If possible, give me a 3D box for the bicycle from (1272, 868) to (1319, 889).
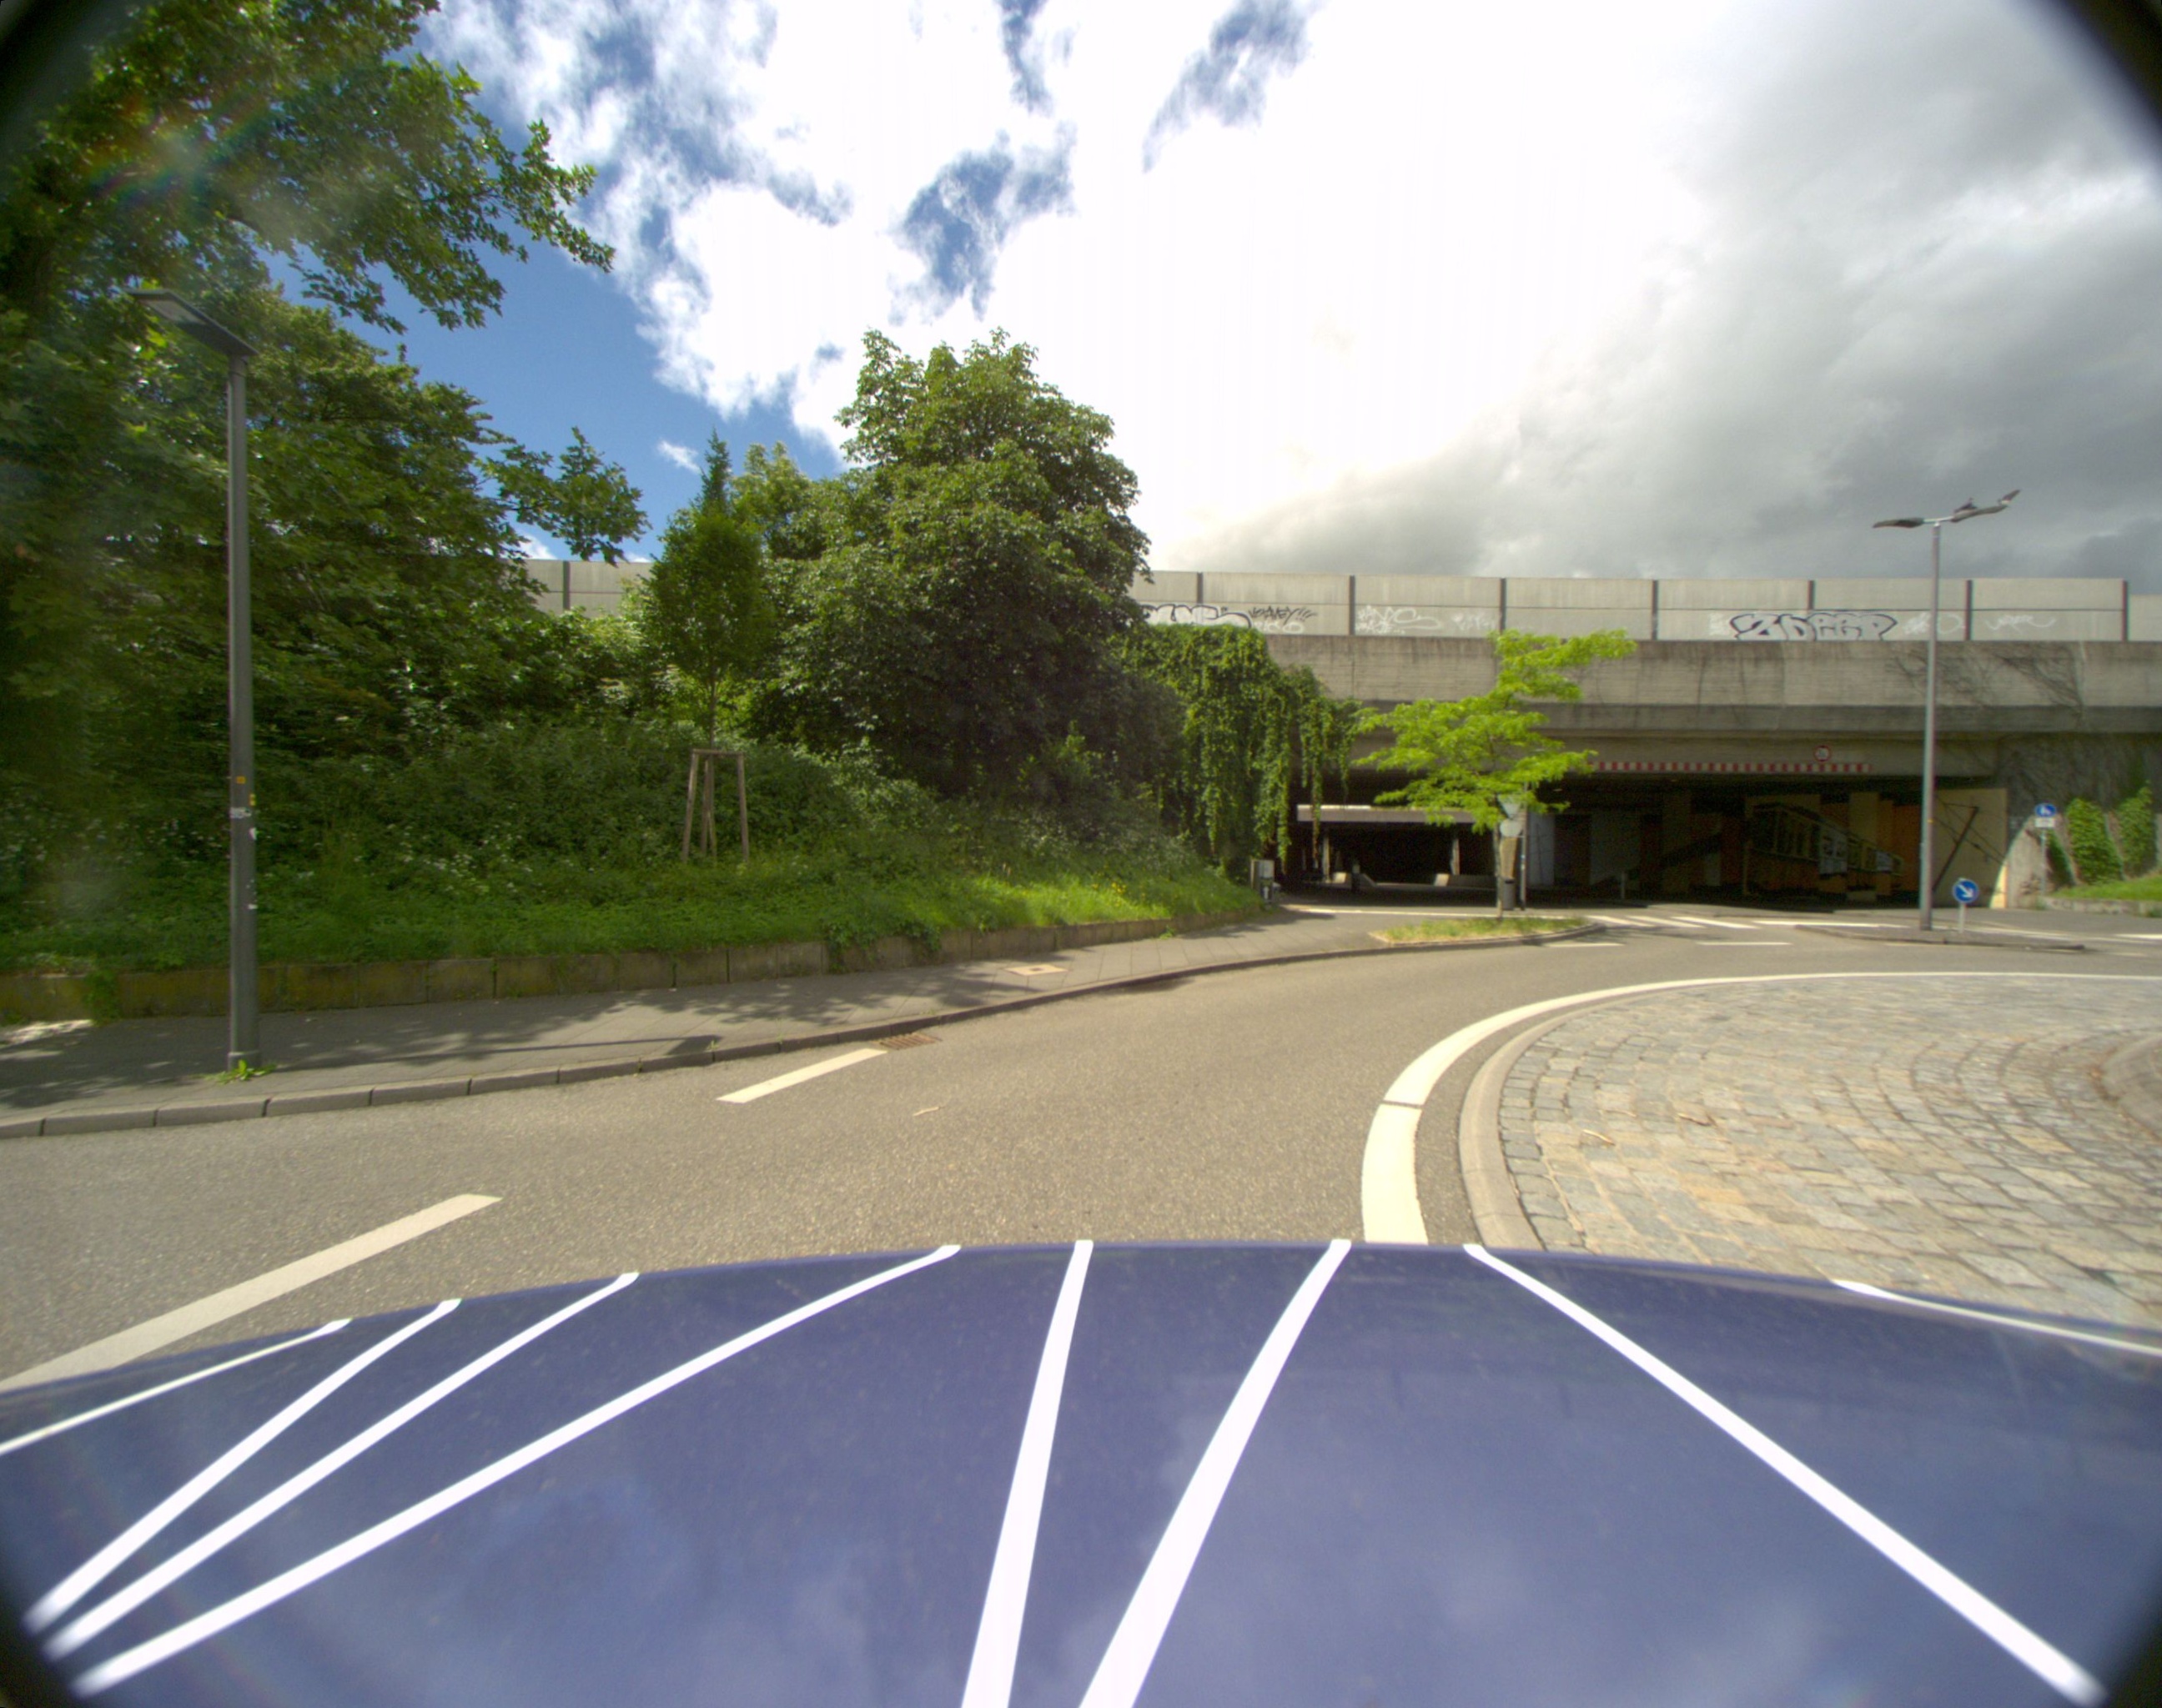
[{"bbox_3d":[9.568,1.091,33.891,1.949,0.899,0.507,1,1,2],"label":"bicycle"}]
